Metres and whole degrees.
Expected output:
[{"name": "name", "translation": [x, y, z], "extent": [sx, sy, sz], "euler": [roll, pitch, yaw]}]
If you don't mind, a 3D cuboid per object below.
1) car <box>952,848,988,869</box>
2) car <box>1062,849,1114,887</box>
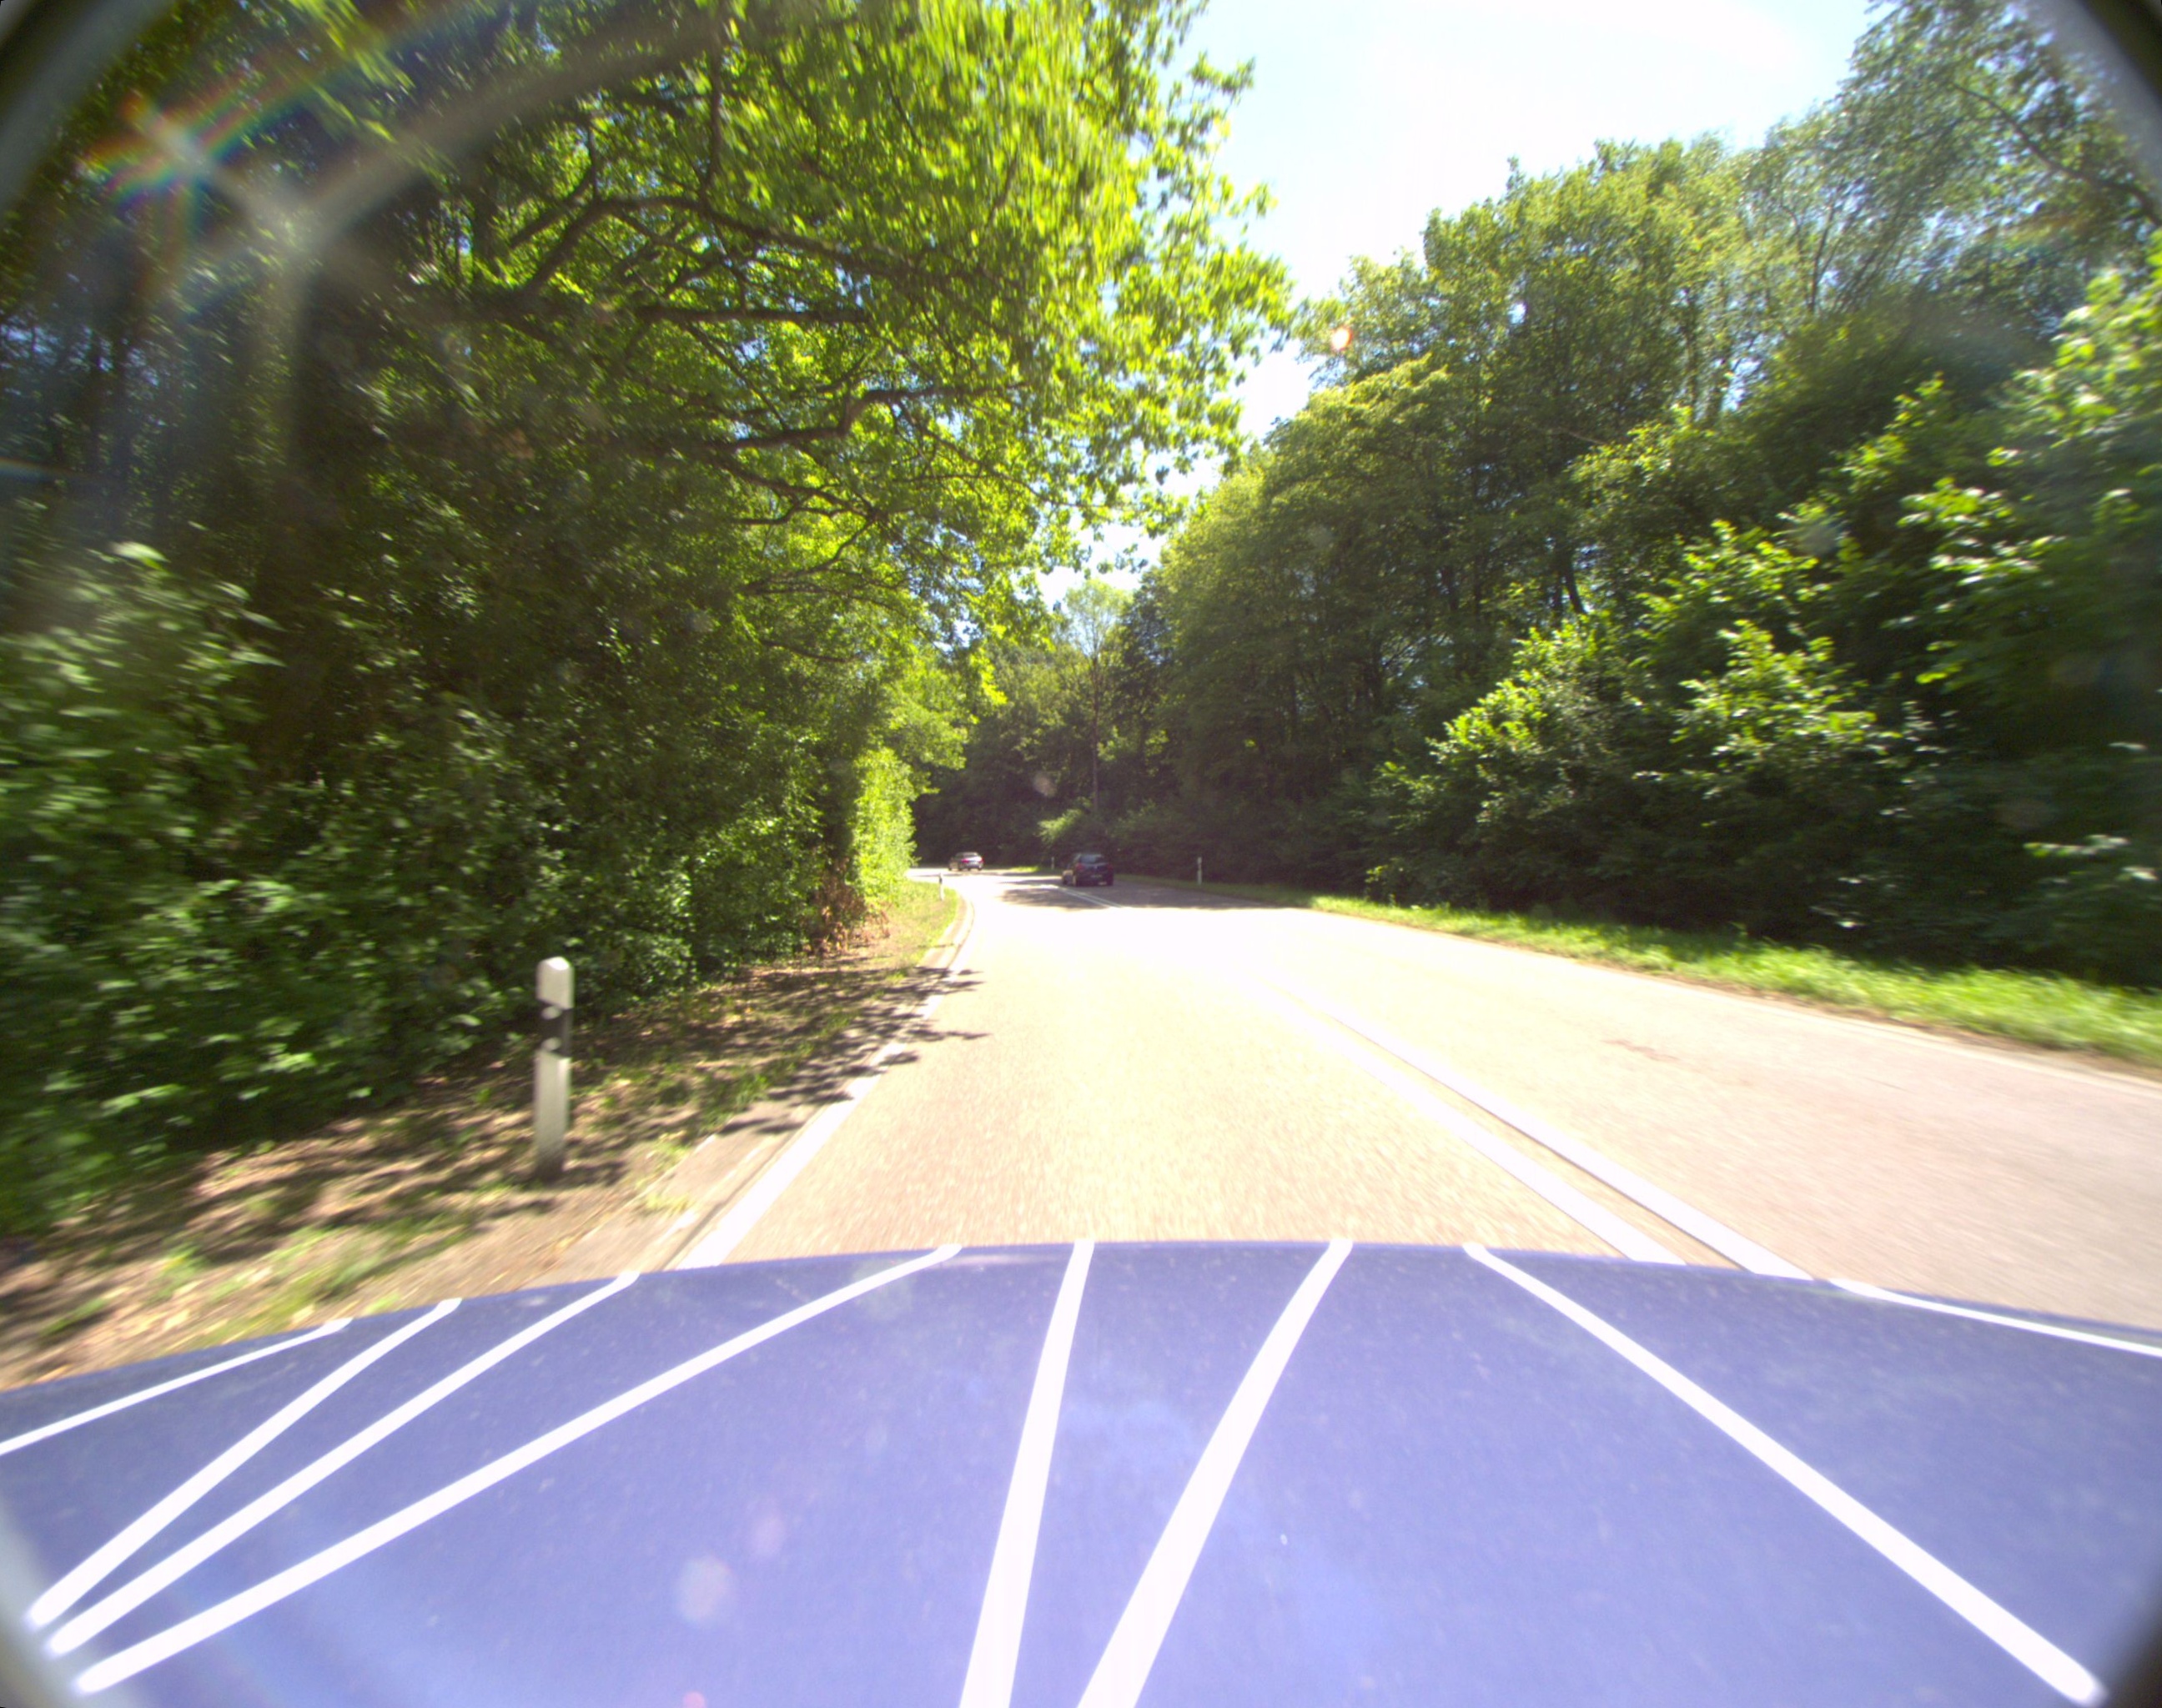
[{"name": "car", "translation": [-8.759, 0.344, 59.712], "extent": [1.764, 1.565, 4.358], "euler": [-2, 1, -22]}, {"name": "car", "translation": [0.261, 0.566, 33.764], "extent": [1.683, 1.565, 3.891], "euler": [0, 1, -9]}]
